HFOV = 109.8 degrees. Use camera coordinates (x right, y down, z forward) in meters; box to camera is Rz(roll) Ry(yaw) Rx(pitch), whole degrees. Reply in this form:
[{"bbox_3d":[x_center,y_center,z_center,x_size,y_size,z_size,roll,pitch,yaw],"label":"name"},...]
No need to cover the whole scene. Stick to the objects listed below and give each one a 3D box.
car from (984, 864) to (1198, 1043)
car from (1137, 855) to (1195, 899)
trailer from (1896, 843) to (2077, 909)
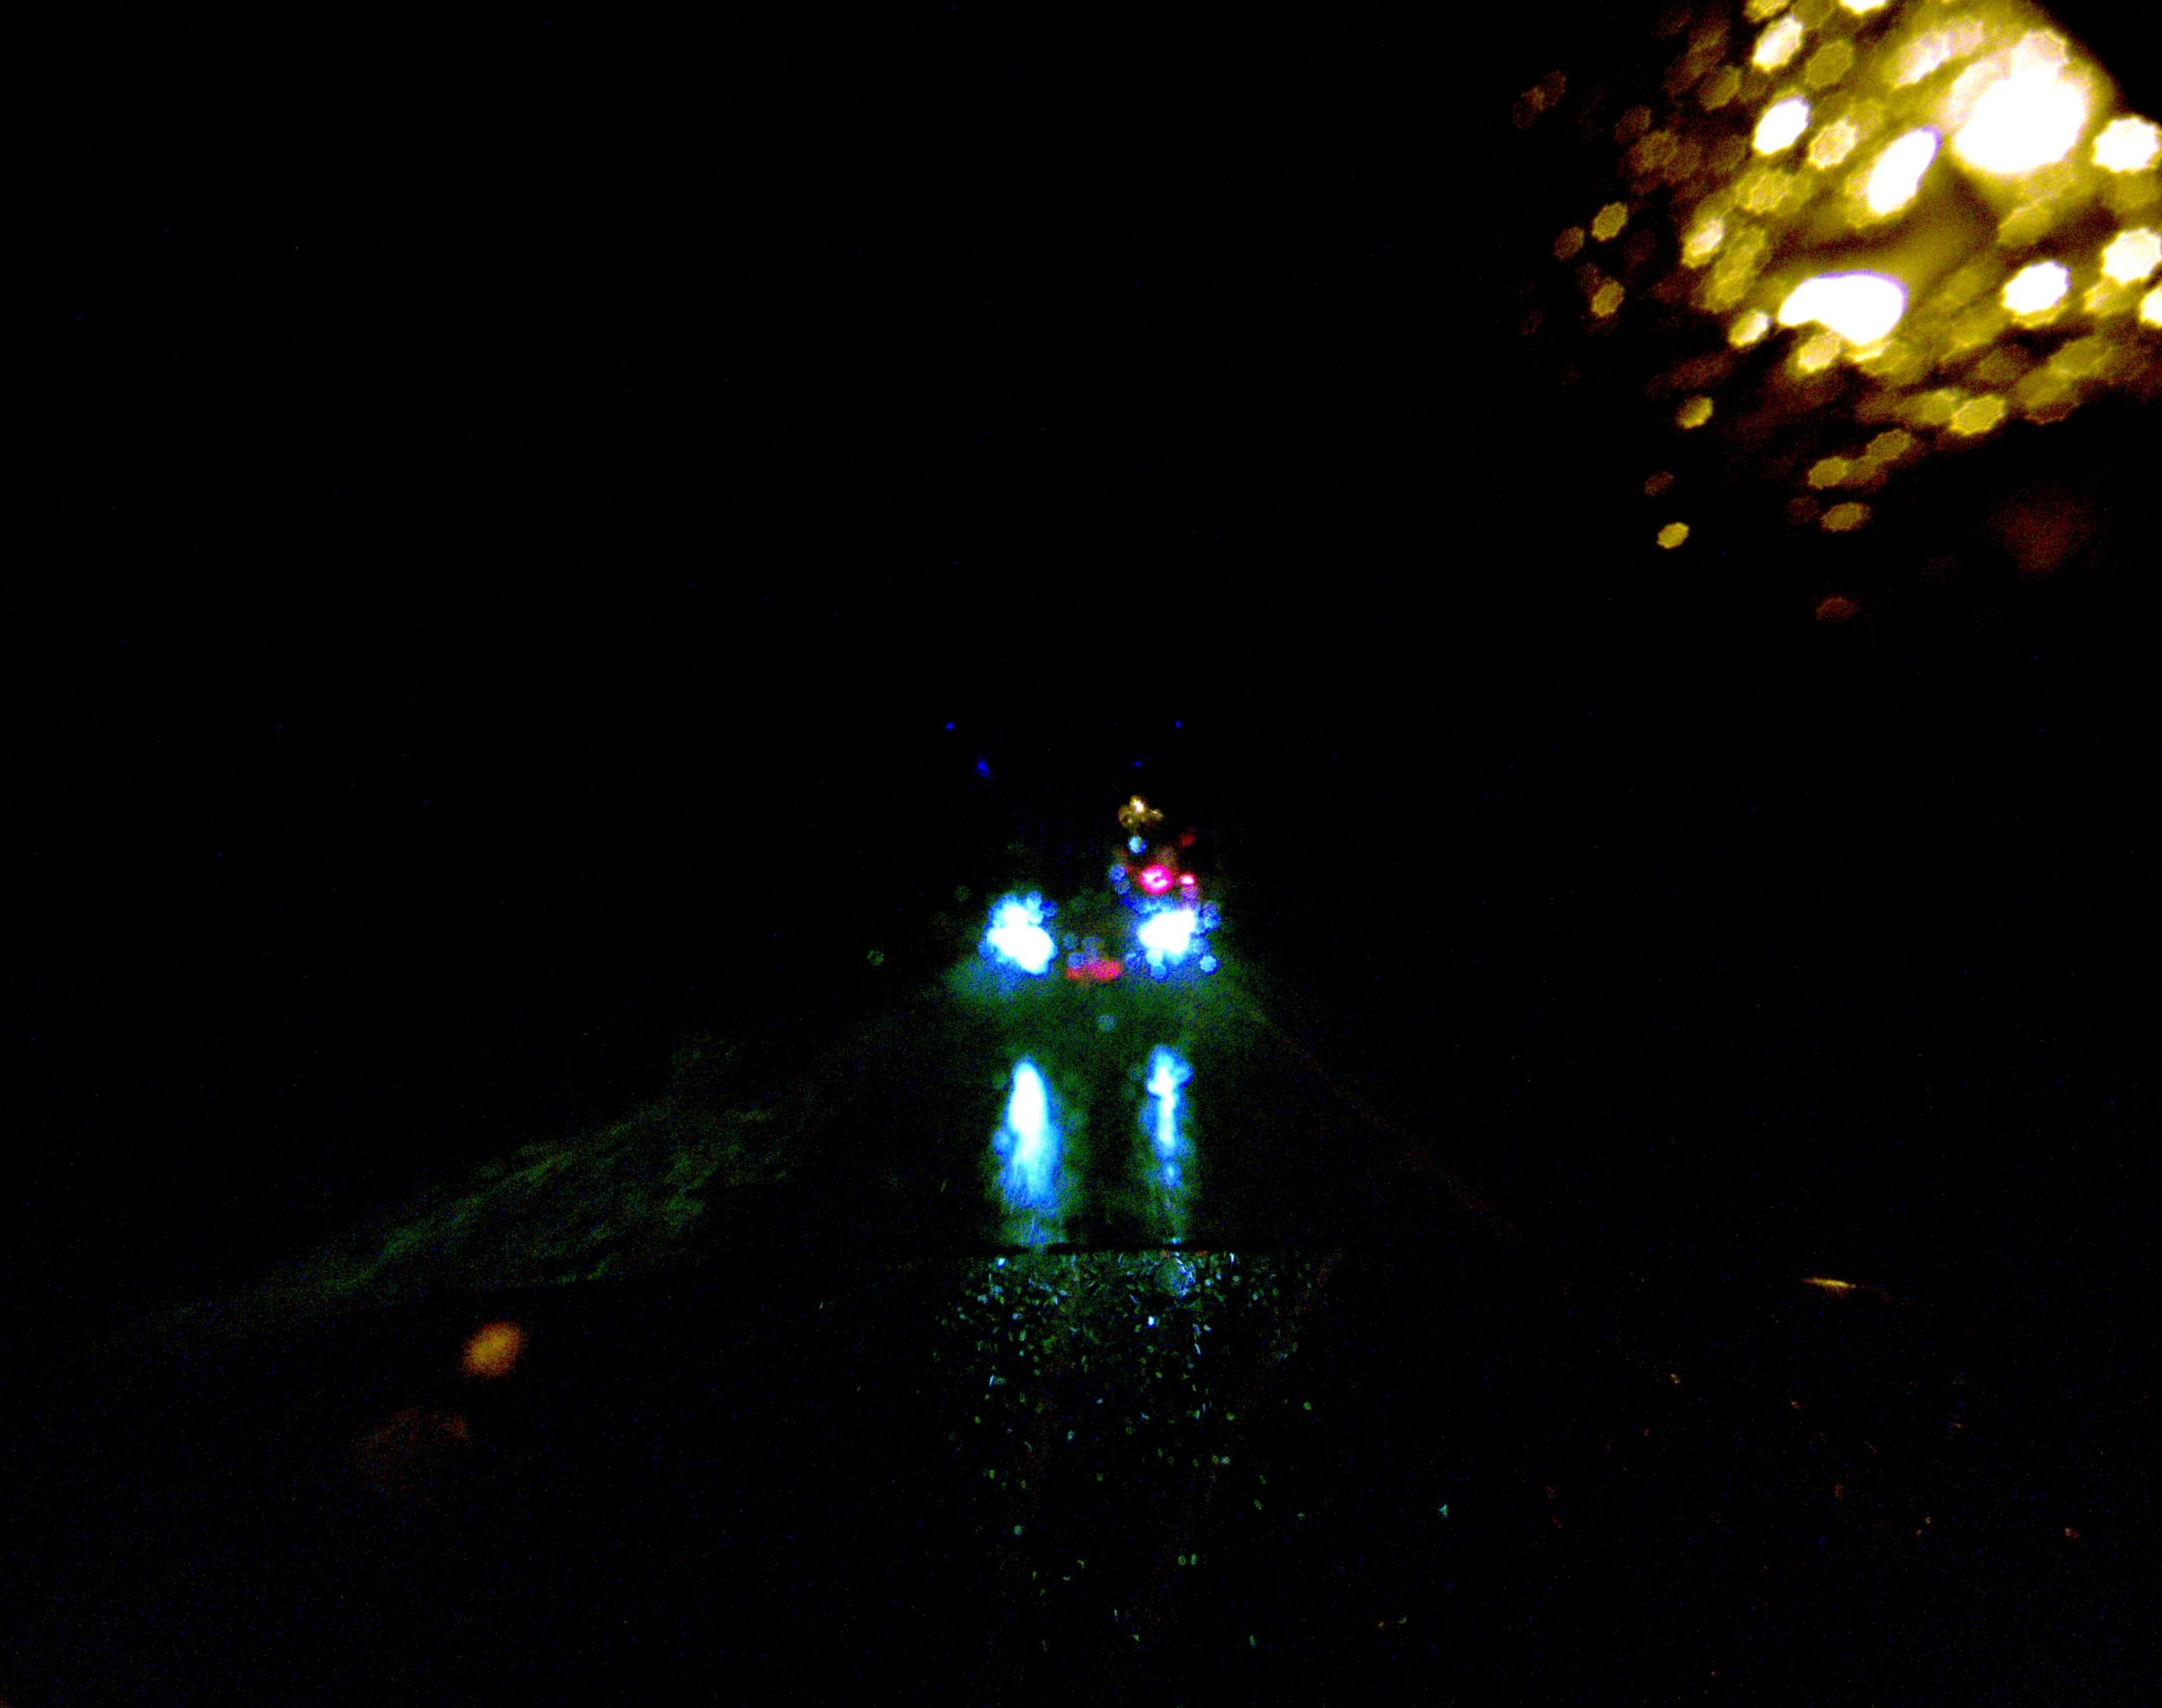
[{"bbox_3d":[0.170,0.952,9.414,1.944,1.580,4.776,-1,0,2],"label":"car"},{"bbox_3d":[3.179,0.857,29.069,1.878,1.536,4.357,1,-1,2],"label":"car"},{"bbox_3d":[33.870,0.760,28.585,3.801,2.206,1.976,2,3,19],"label":"trailer"}]
